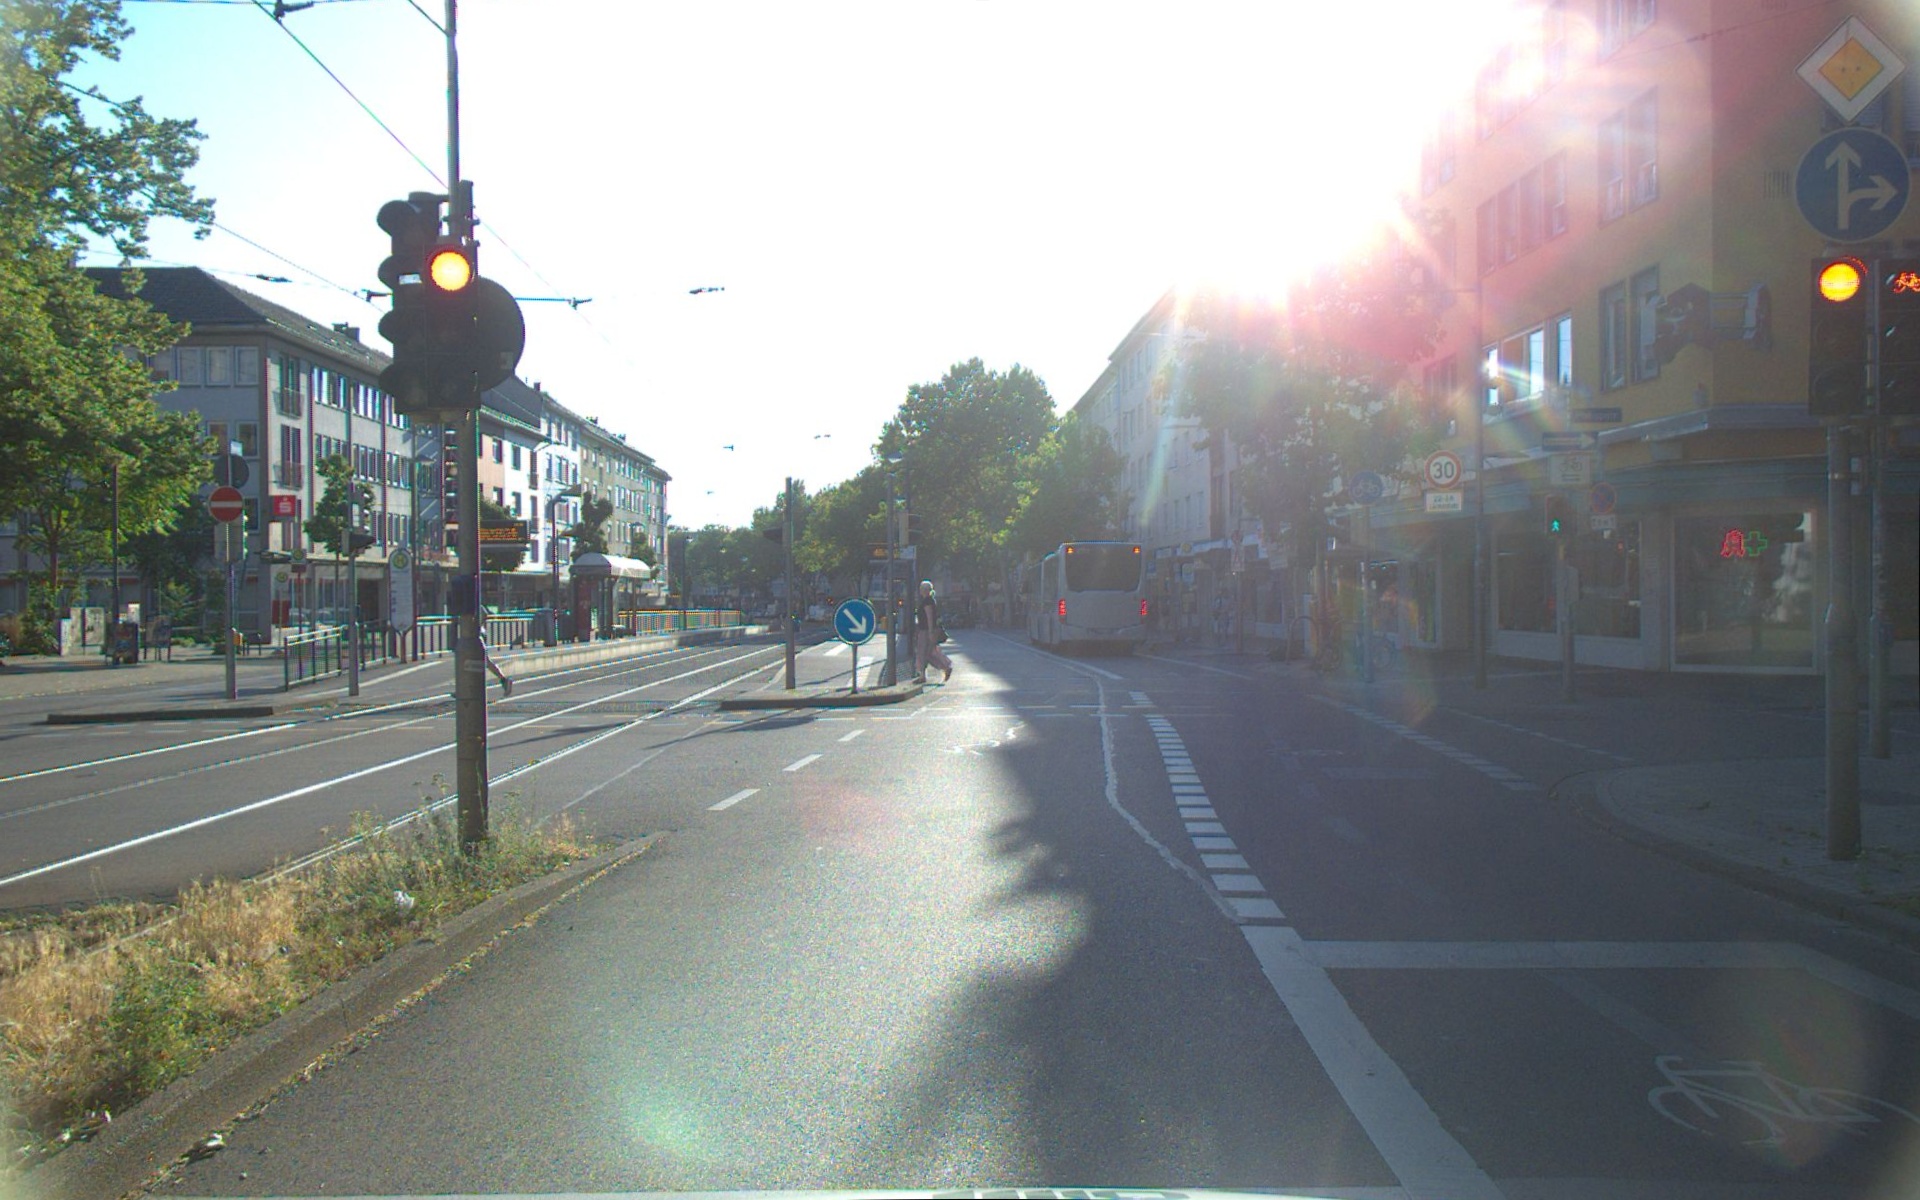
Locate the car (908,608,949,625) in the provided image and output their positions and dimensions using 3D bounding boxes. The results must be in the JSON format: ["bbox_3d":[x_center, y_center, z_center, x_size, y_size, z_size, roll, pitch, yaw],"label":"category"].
[{"bbox_3d":[-3.146,1.636,166.580,3.848,1.624,1.674,-1,0,-30],"label":"car"}]

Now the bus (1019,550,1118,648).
[{"bbox_3d":[3.746,-0.032,59.047,2.755,3.156,9.092,1,0,-1],"label":"bus"}]

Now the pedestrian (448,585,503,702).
[{"bbox_3d":[-7.625,0.670,26.029,0.666,1.801,0.686,-1,0,-4],"label":"pedestrian"}]

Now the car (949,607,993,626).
[{"bbox_3d":[1.042,1.571,158.554,3.848,1.729,1.815,-1,0,-30],"label":"car"}]

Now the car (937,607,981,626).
[{"bbox_3d":[-0.089,1.605,161.308,3.848,1.729,1.815,-1,0,-30],"label":"car"}]

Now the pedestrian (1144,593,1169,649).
[{"bbox_3d":[5.994,0.636,50.411,0.662,1.656,0.655,1,0,0],"label":"pedestrian"}]

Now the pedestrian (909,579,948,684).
[{"bbox_3d":[-0.552,0.540,28.817,0.666,1.801,0.687,0,0,0],"label":"pedestrian"}]

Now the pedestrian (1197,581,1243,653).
[{"bbox_3d":[7.553,0.499,48.116,0.948,2.049,0.904,2,-1,-41],"label":"pedestrian"}]

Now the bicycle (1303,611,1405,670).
[{"bbox_3d":[7.470,0.757,31.433,1.737,1.039,0.694,-2,0,-2],"label":"bicycle"}]

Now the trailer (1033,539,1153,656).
[{"bbox_3d":[3.871,-0.059,50.108,2.755,3.165,8.792,1,0,-1],"label":"trailer"}]
